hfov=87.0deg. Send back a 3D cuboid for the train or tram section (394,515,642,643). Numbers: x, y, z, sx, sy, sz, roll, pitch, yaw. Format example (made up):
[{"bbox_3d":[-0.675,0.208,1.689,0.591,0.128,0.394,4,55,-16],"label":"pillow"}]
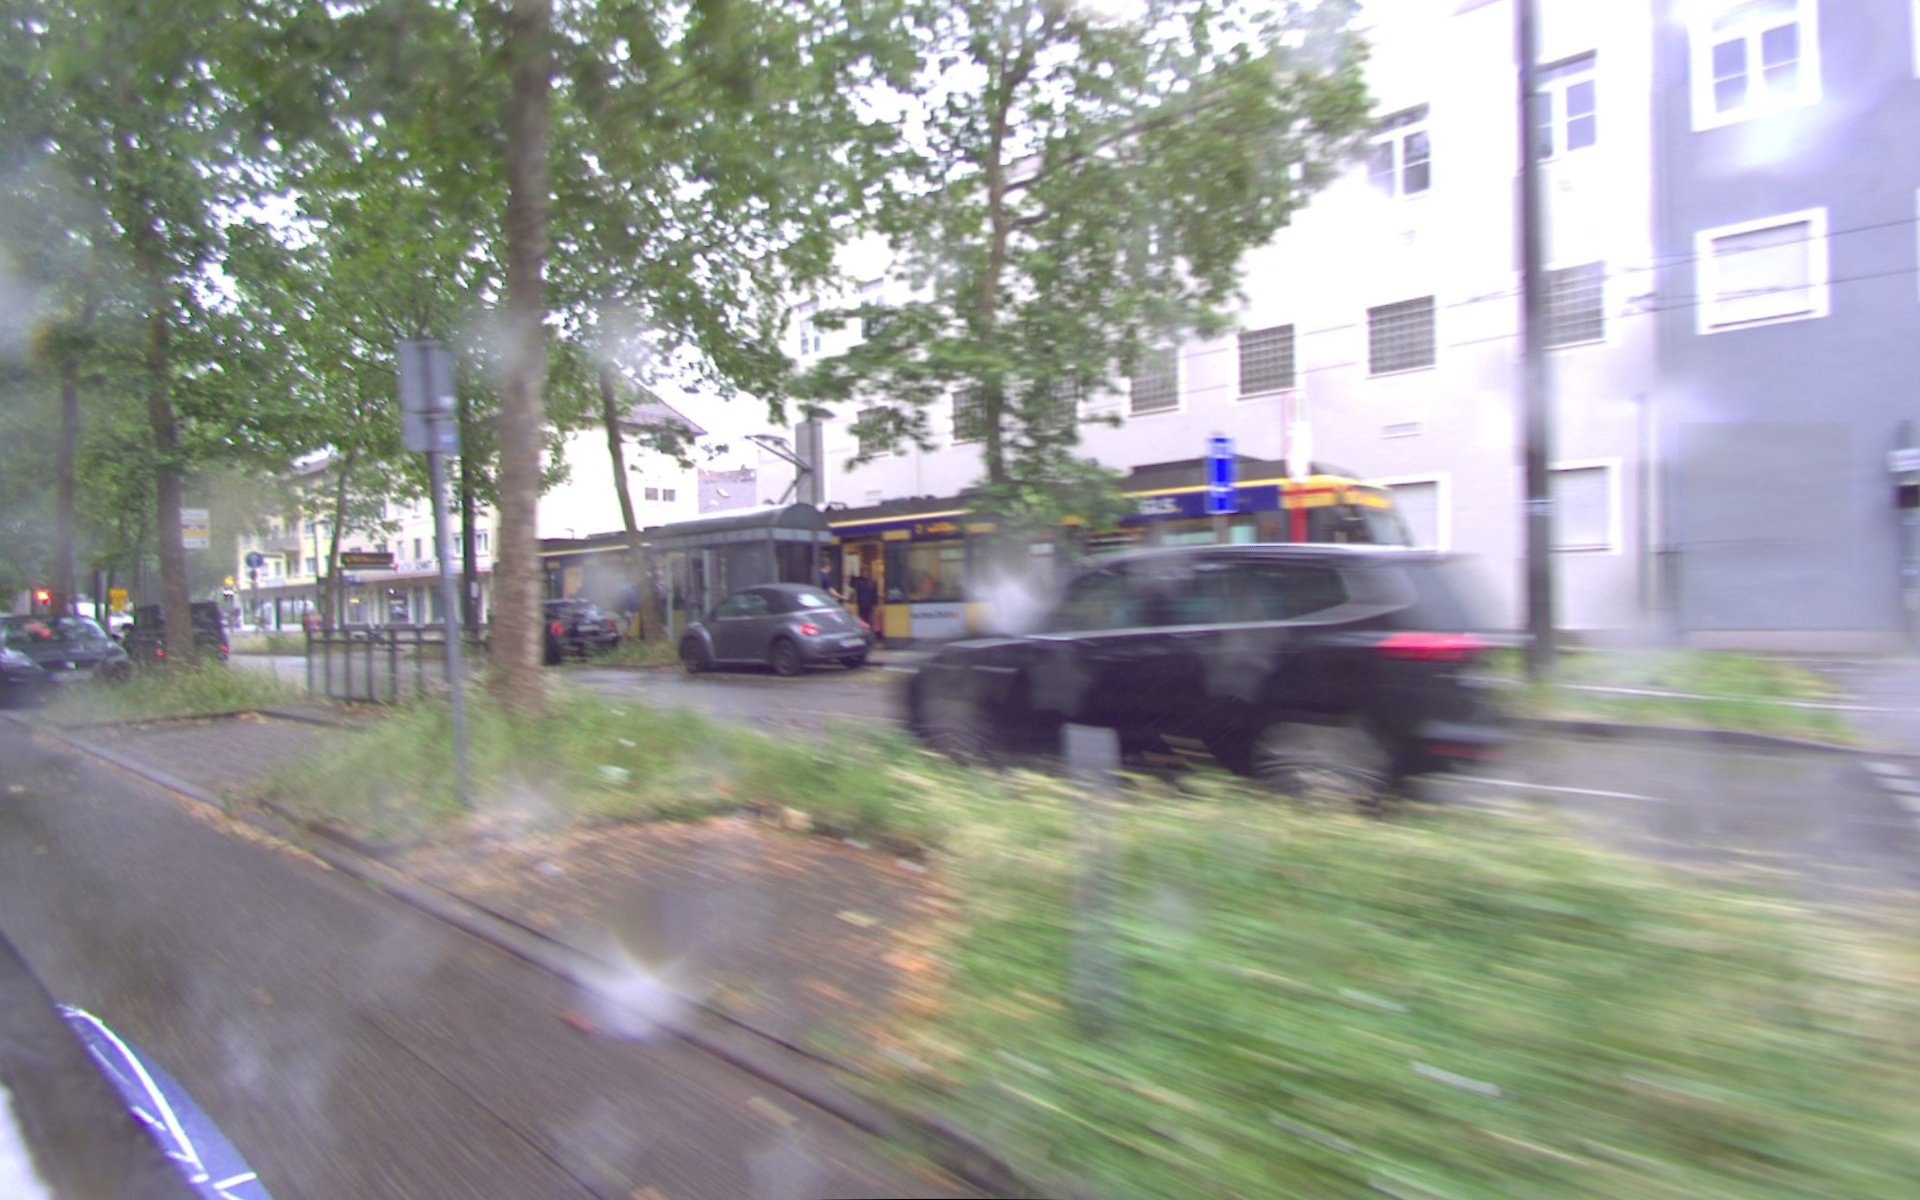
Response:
[{"bbox_3d":[-15.133,-0.545,33.902,11.545,3.669,2.870,-1,1,41],"label":"train or tram section"}]

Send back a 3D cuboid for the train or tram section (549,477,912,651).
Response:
[{"bbox_3d":[-6.441,-0.719,26.306,11.545,3.669,2.870,-1,1,41],"label":"train or tram section"}]

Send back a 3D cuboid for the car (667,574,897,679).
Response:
[{"bbox_3d":[-3.131,0.442,17.422,3.971,1.520,1.656,-2,3,40],"label":"car"}]

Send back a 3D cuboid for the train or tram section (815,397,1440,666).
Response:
[{"bbox_3d":[2.272,-0.893,18.697,11.545,3.669,2.870,-1,1,41],"label":"train or tram section"}]

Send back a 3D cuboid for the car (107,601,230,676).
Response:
[{"bbox_3d":[-19.495,0.922,24.895,3.646,1.675,1.655,-2,0,40],"label":"car"}]

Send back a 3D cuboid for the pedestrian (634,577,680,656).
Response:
[{"bbox_3d":[-7.169,0.389,23.986,0.946,1.797,0.819,-2,0,-12],"label":"pedestrian"}]

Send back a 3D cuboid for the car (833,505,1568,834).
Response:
[{"bbox_3d":[1.512,0.386,7.227,4.664,1.631,2.038,-2,0,36],"label":"car"}]

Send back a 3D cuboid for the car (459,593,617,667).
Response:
[{"bbox_3d":[-9.433,0.667,22.534,3.702,1.395,1.656,-2,3,40],"label":"car"}]

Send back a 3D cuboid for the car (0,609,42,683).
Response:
[{"bbox_3d":[-22.223,1.055,23.031,3.326,1.588,1.552,-2,0,41],"label":"car"}]

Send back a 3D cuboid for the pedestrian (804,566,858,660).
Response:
[{"bbox_3d":[-2.562,0.256,20.032,0.946,1.797,0.819,-2,0,-12],"label":"pedestrian"}]

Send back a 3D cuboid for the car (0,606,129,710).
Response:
[{"bbox_3d":[-15.292,0.916,16.750,4.003,1.493,1.710,-2,0,41],"label":"car"}]

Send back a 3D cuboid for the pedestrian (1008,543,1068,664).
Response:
[{"bbox_3d":[1.245,0.049,16.046,0.635,1.869,0.654,-2,0,41],"label":"pedestrian"}]
